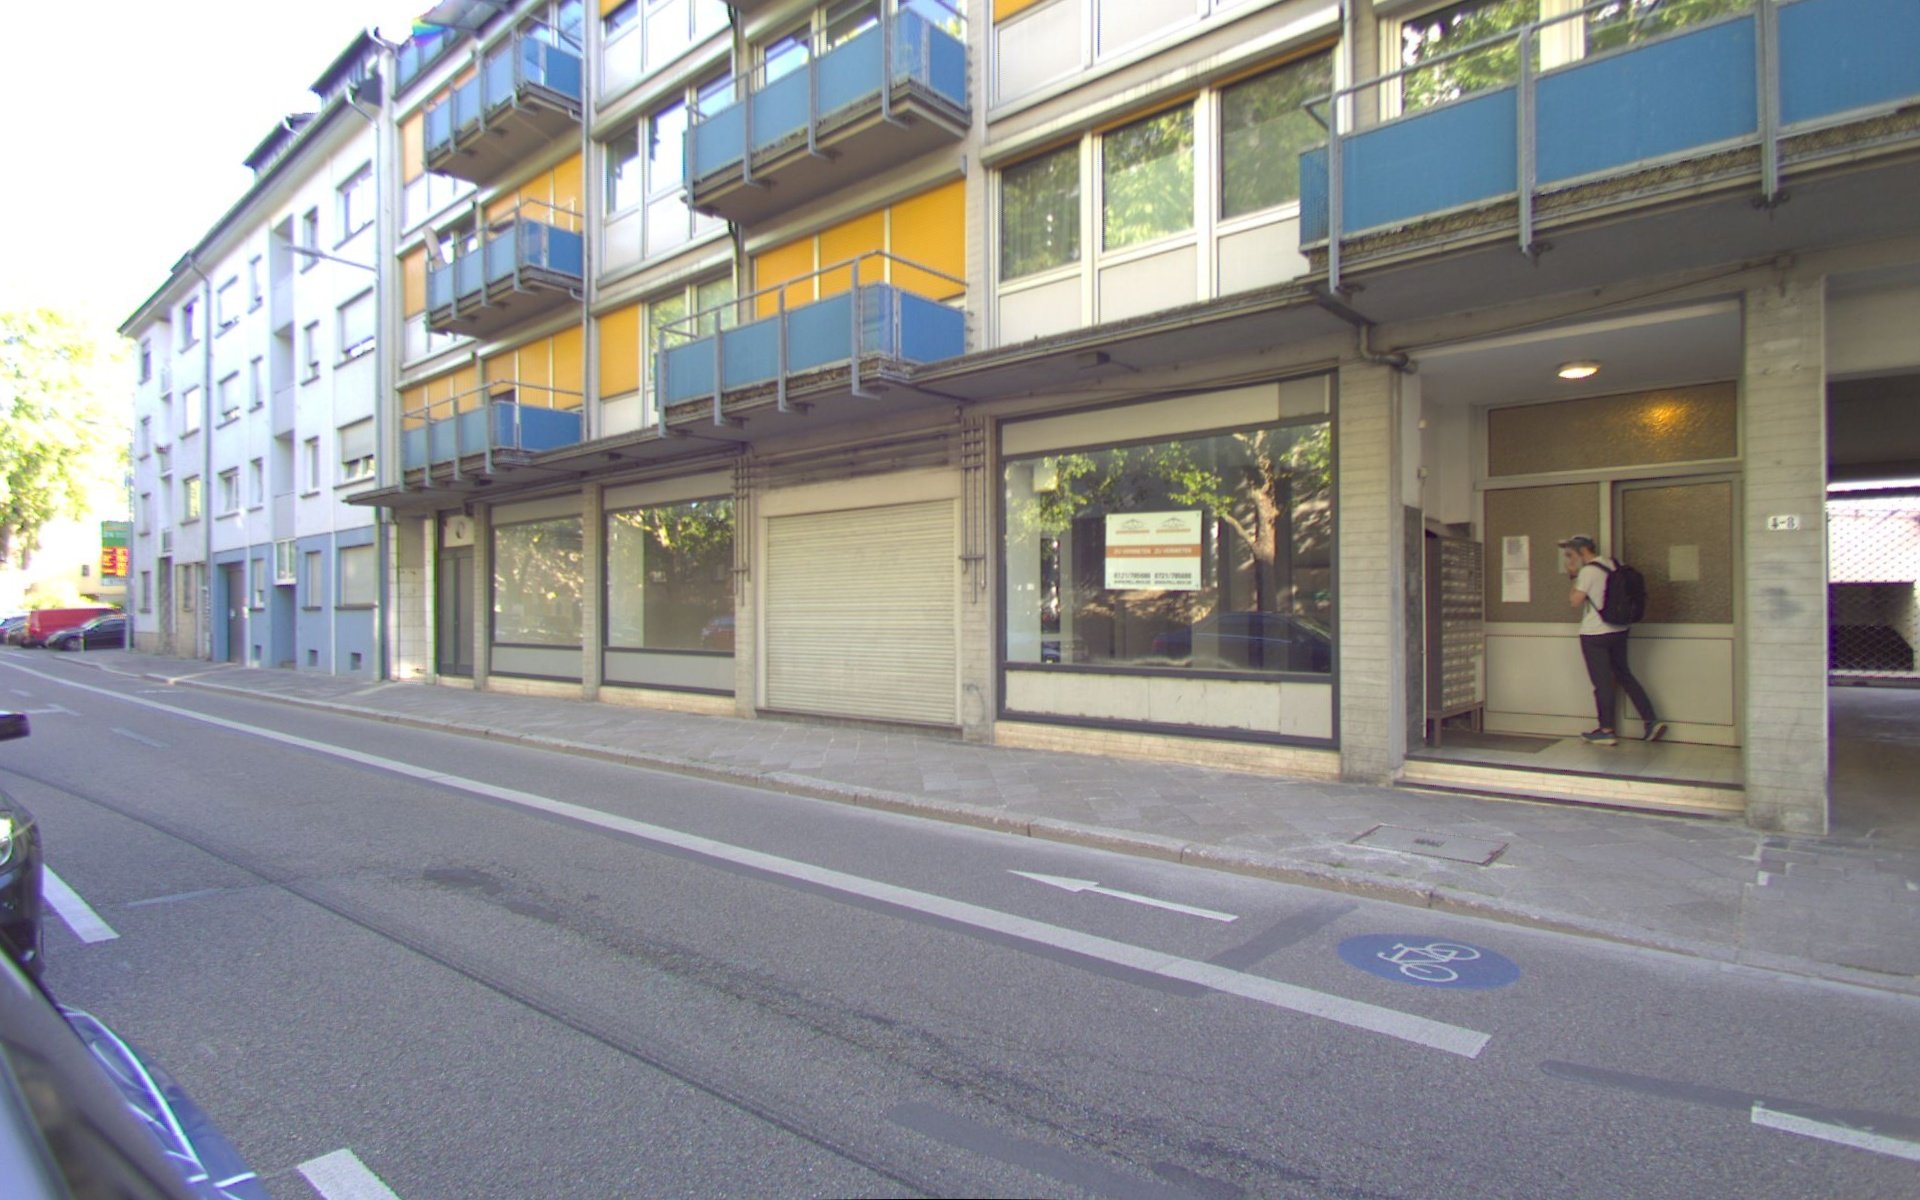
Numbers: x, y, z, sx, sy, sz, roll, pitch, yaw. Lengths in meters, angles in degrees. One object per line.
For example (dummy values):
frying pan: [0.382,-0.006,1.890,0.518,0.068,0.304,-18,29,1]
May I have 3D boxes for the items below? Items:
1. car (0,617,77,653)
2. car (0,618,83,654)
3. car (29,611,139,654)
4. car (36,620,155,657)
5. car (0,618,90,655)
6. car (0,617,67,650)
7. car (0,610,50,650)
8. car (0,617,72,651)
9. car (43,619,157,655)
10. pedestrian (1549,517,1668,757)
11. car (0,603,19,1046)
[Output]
car: [-55.615,2.070,60.561,2.000,1.962,3.944,-1,0,42]
car: [-53.534,2.043,58.608,2.000,1.962,3.944,-1,0,42]
car: [-43.443,1.579,50.248,2.000,1.962,3.944,-1,0,42]
car: [-39.770,1.730,46.602,2.000,1.564,3.944,-1,0,42]
car: [-51.583,2.017,56.826,2.000,1.962,3.944,-1,0,42]
car: [-59.221,2.117,64.012,2.000,1.962,3.944,-1,0,42]
car: [-62.813,1.964,66.781,2.000,2.538,3.944,-1,0,42]
car: [-57.421,2.093,62.279,2.000,1.962,3.944,-1,0,42]
car: [-41.188,1.749,48.523,2.000,1.564,3.944,-1,0,42]
pedestrian: [5.387,0.297,8.451,0.783,1.894,0.576,-1,0,31]
car: [-5.534,0.808,4.278,4.479,1.512,1.842,-1,-1,41]
